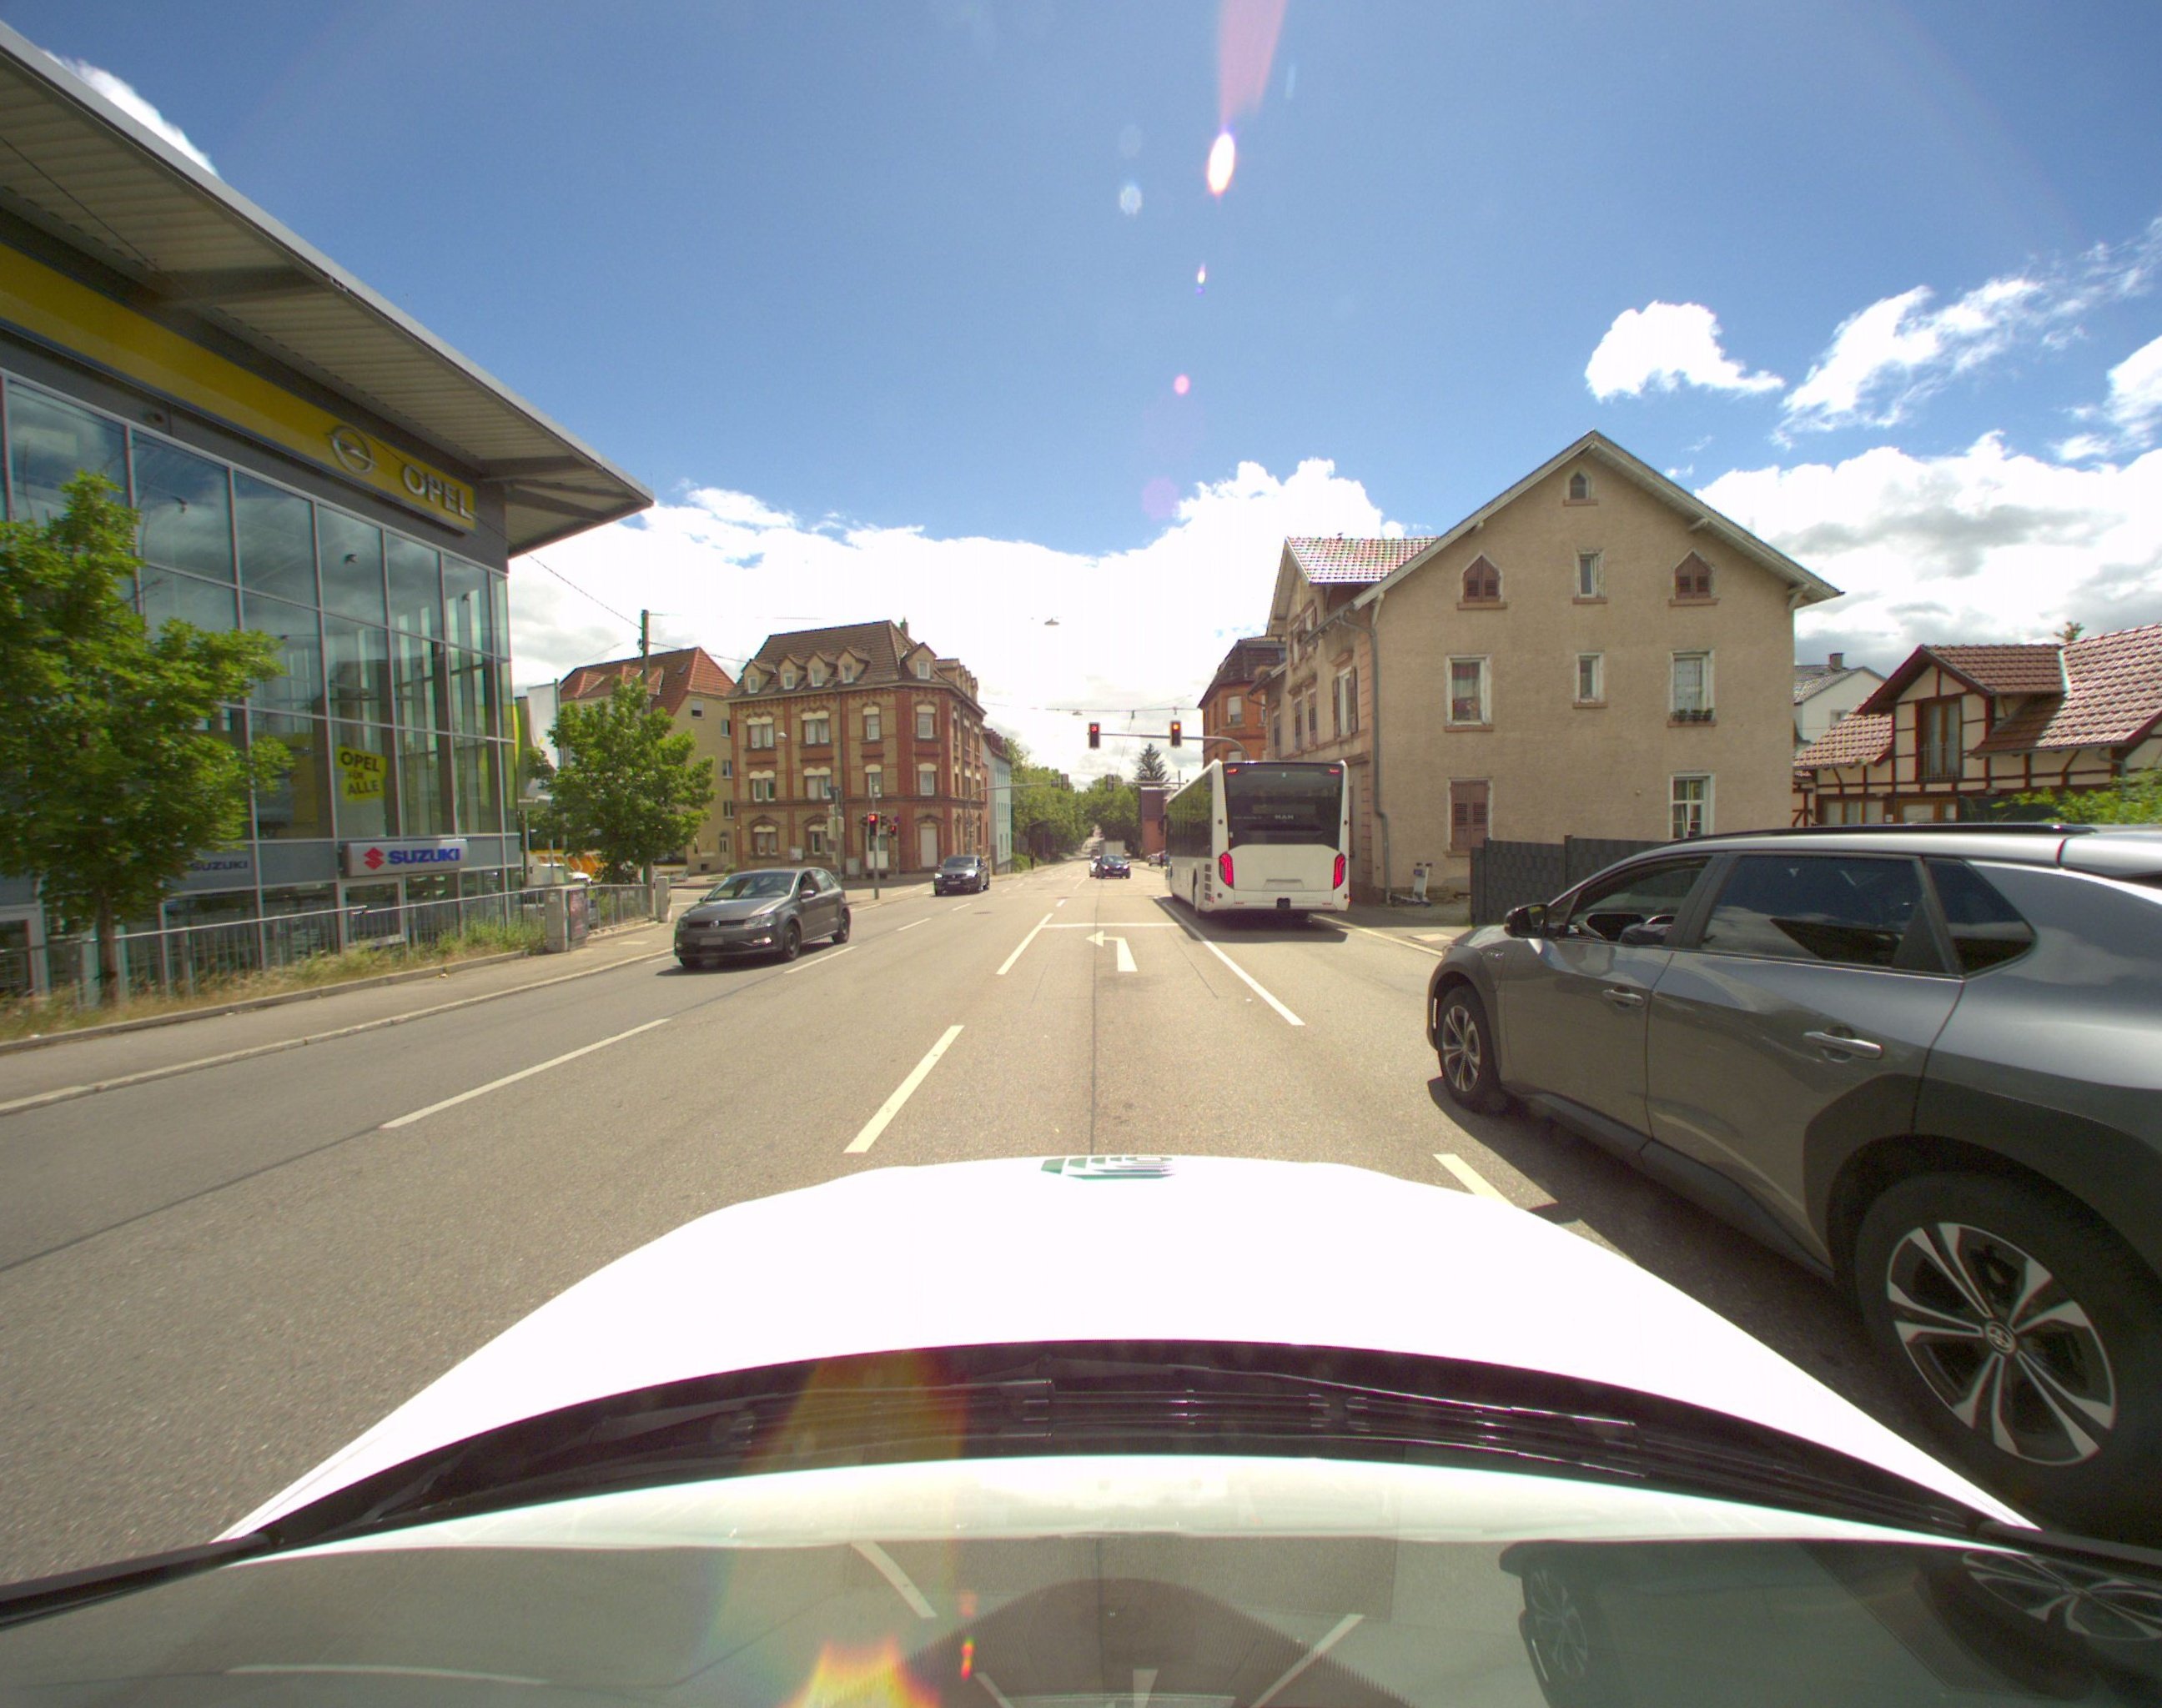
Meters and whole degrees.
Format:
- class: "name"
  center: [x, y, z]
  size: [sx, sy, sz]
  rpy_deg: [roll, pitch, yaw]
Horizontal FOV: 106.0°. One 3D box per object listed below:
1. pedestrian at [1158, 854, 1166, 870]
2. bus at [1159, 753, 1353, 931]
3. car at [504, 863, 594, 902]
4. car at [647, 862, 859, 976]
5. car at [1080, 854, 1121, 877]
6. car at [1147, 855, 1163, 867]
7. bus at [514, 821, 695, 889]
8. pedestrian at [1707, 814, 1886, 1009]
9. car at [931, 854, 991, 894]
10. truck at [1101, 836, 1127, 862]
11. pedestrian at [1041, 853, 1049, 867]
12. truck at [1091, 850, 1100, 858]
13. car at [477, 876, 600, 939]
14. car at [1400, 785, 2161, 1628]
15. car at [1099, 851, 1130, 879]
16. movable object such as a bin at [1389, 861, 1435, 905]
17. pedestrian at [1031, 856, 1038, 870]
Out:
- class: "pedestrian"
  center: [8.880, 0.877, 89.621]
  size: [0.736, 1.750, 0.619]
  rpy_deg: [-2, 0, 1]
- class: "bus"
  center: [3.774, -0.227, 21.043]
  size: [2.662, 3.155, 12.467]
  rpy_deg: [-2, 0, 2]
- class: "car"
  center: [-27.343, 1.489, 41.883]
  size: [4.251, 1.553, 1.843]
  rpy_deg: [-3, -13, 28]
- class: "car"
  center: [-5.105, 0.929, 13.260]
  size: [1.752, 1.413, 3.735]
  rpy_deg: [-4, 0, 2]
- class: "car"
  center: [1.374, 0.752, 56.038]
  size: [1.685, 1.427, 4.018]
  rpy_deg: [-2, 0, 17]
- class: "car"
  center: [9.517, 0.905, 104.783]
  size: [1.788, 1.409, 4.000]
  rpy_deg: [-2, 0, 1]
- class: "bus"
  center: [-27.737, 0.025, 47.117]
  size: [12.111, 3.621, 2.788]
  rpy_deg: [0, 0, 26]
- class: "pedestrian"
  center: [6.127, 0.474, 7.016]
  size: [0.856, 1.562, 0.712]
  rpy_deg: [-2, -1, 1]
- class: "car"
  center: [-4.913, 0.787, 33.888]
  size: [1.752, 1.522, 3.959]
  rpy_deg: [-2, 0, 2]
- class: "truck"
  center: [4.222, -0.600, 105.568]
  size: [2.917, 3.081, 7.883]
  rpy_deg: [-2, 0, 0]
- class: "pedestrian"
  center: [-5.223, 0.846, 118.510]
  size: [0.991, 2.013, 1.189]
  rpy_deg: [-2, 0, 1]
- class: "truck"
  center: [3.388, -0.014, 193.907]
  size: [1.986, 2.014, 4.001]
  rpy_deg: [-1, 0, 2]
- class: "car"
  center: [-15.736, 1.484, 23.589]
  size: [3.321, 1.560, 1.693]
  rpy_deg: [0, 2, 32]
- class: "car"
  center: [3.076, 0.662, 3.231]
  size: [1.912, 1.613, 4.685]
  rpy_deg: [0, 0, 2]
- class: "car"
  center: [1.988, 0.635, 48.732]
  size: [1.752, 1.516, 3.795]
  rpy_deg: [-2, 0, 2]
- class: "movable object such as a bin"
  center: [7.906, 0.685, 19.491]
  size: [0.773, 1.012, 0.749]
  rpy_deg: [-2, 0, 1]
- class: "pedestrian"
  center: [-5.306, 1.047, 92.291]
  size: [0.727, 1.565, 0.561]
  rpy_deg: [-1, 0, 0]
